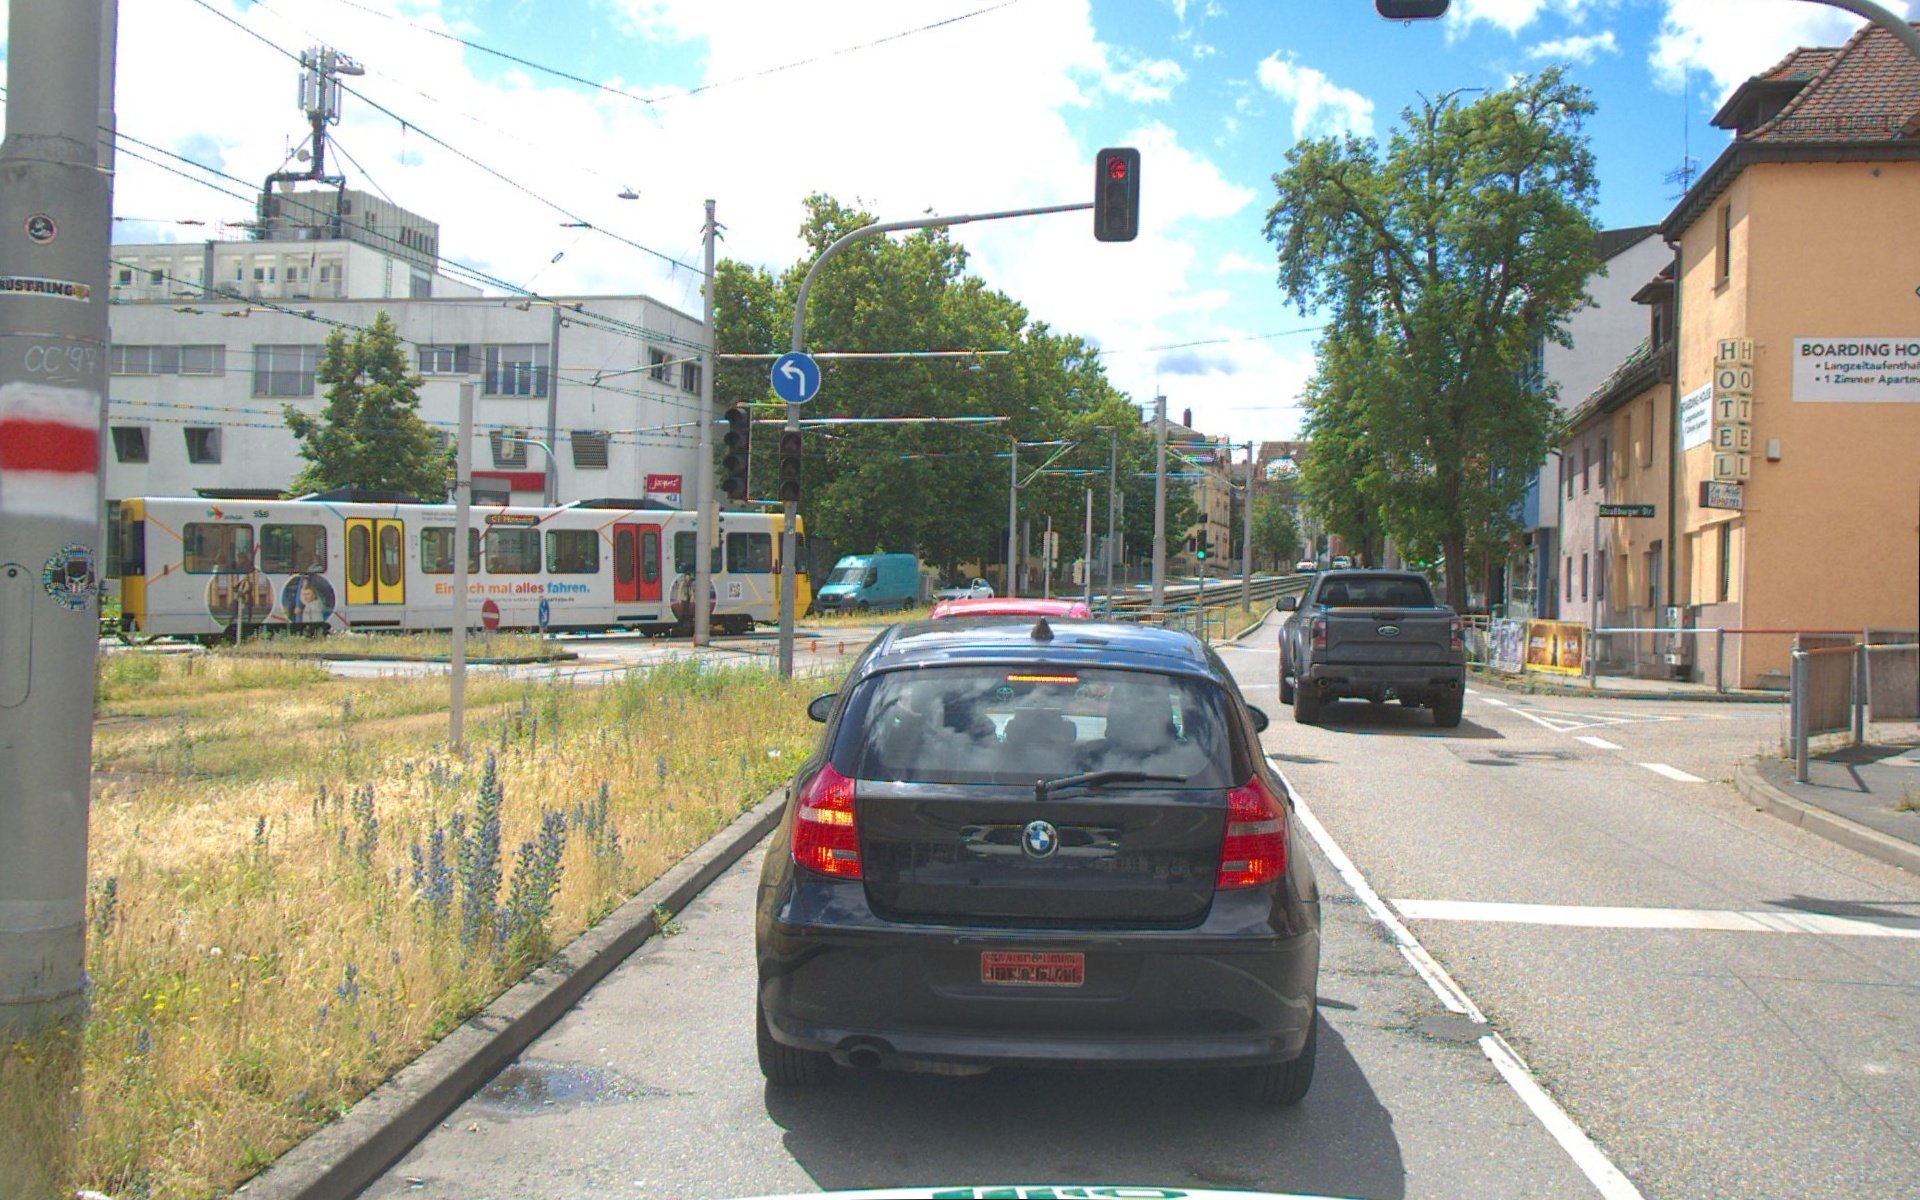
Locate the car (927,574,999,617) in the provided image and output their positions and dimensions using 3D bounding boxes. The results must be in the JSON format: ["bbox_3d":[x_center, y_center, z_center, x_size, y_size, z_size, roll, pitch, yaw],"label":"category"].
[{"bbox_3d":[0.168,-0.197,78.002,1.814,1.962,4.798,-1,-1,21],"label":"car"}]

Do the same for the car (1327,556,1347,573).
[{"bbox_3d":[47.406,-4.469,207.829,1.952,2.049,4.000,-1,-1,21],"label":"car"}]

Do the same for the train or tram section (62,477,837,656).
[{"bbox_3d":[-12.316,-0.679,43.780,19.867,3.881,3.706,0,-1,-41],"label":"train or tram section"}]

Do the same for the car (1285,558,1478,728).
[{"bbox_3d":[5.296,0.516,21.391,1.956,1.920,5.154,0,-1,9],"label":"car"}]

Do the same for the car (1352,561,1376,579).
[{"bbox_3d":[35.838,-2.647,146.712,1.777,1.494,4.002,0,0,17],"label":"car"}]

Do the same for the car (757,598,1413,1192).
[{"bbox_3d":[0.223,0.761,6.199,1.667,1.477,3.997,0,-1,-3],"label":"car"}]

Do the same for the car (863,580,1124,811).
[{"bbox_3d":[0.409,0.642,12.802,1.590,1.499,4.003,0,-1,7],"label":"car"}]

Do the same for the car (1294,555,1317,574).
[{"bbox_3d":[39.405,-4.050,188.402,1.952,2.049,4.000,-1,-1,21],"label":"car"}]

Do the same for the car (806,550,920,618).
[{"bbox_3d":[-3.977,-0.630,68.913,2.090,2.701,5.681,-1,-1,29],"label":"car"}]

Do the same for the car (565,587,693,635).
[{"bbox_3d":[-11.410,0.378,57.197,1.824,1.613,4.147,-1,-1,40],"label":"car"}]

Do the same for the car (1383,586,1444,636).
[{"bbox_3d":[15.387,0.373,56.254,1.749,1.624,4.003,0,-1,12],"label":"car"}]

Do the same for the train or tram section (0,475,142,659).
[{"bbox_3d":[-28.666,-0.671,34.658,20.260,3.947,3.740,0,-1,-20],"label":"train or tram section"}]
